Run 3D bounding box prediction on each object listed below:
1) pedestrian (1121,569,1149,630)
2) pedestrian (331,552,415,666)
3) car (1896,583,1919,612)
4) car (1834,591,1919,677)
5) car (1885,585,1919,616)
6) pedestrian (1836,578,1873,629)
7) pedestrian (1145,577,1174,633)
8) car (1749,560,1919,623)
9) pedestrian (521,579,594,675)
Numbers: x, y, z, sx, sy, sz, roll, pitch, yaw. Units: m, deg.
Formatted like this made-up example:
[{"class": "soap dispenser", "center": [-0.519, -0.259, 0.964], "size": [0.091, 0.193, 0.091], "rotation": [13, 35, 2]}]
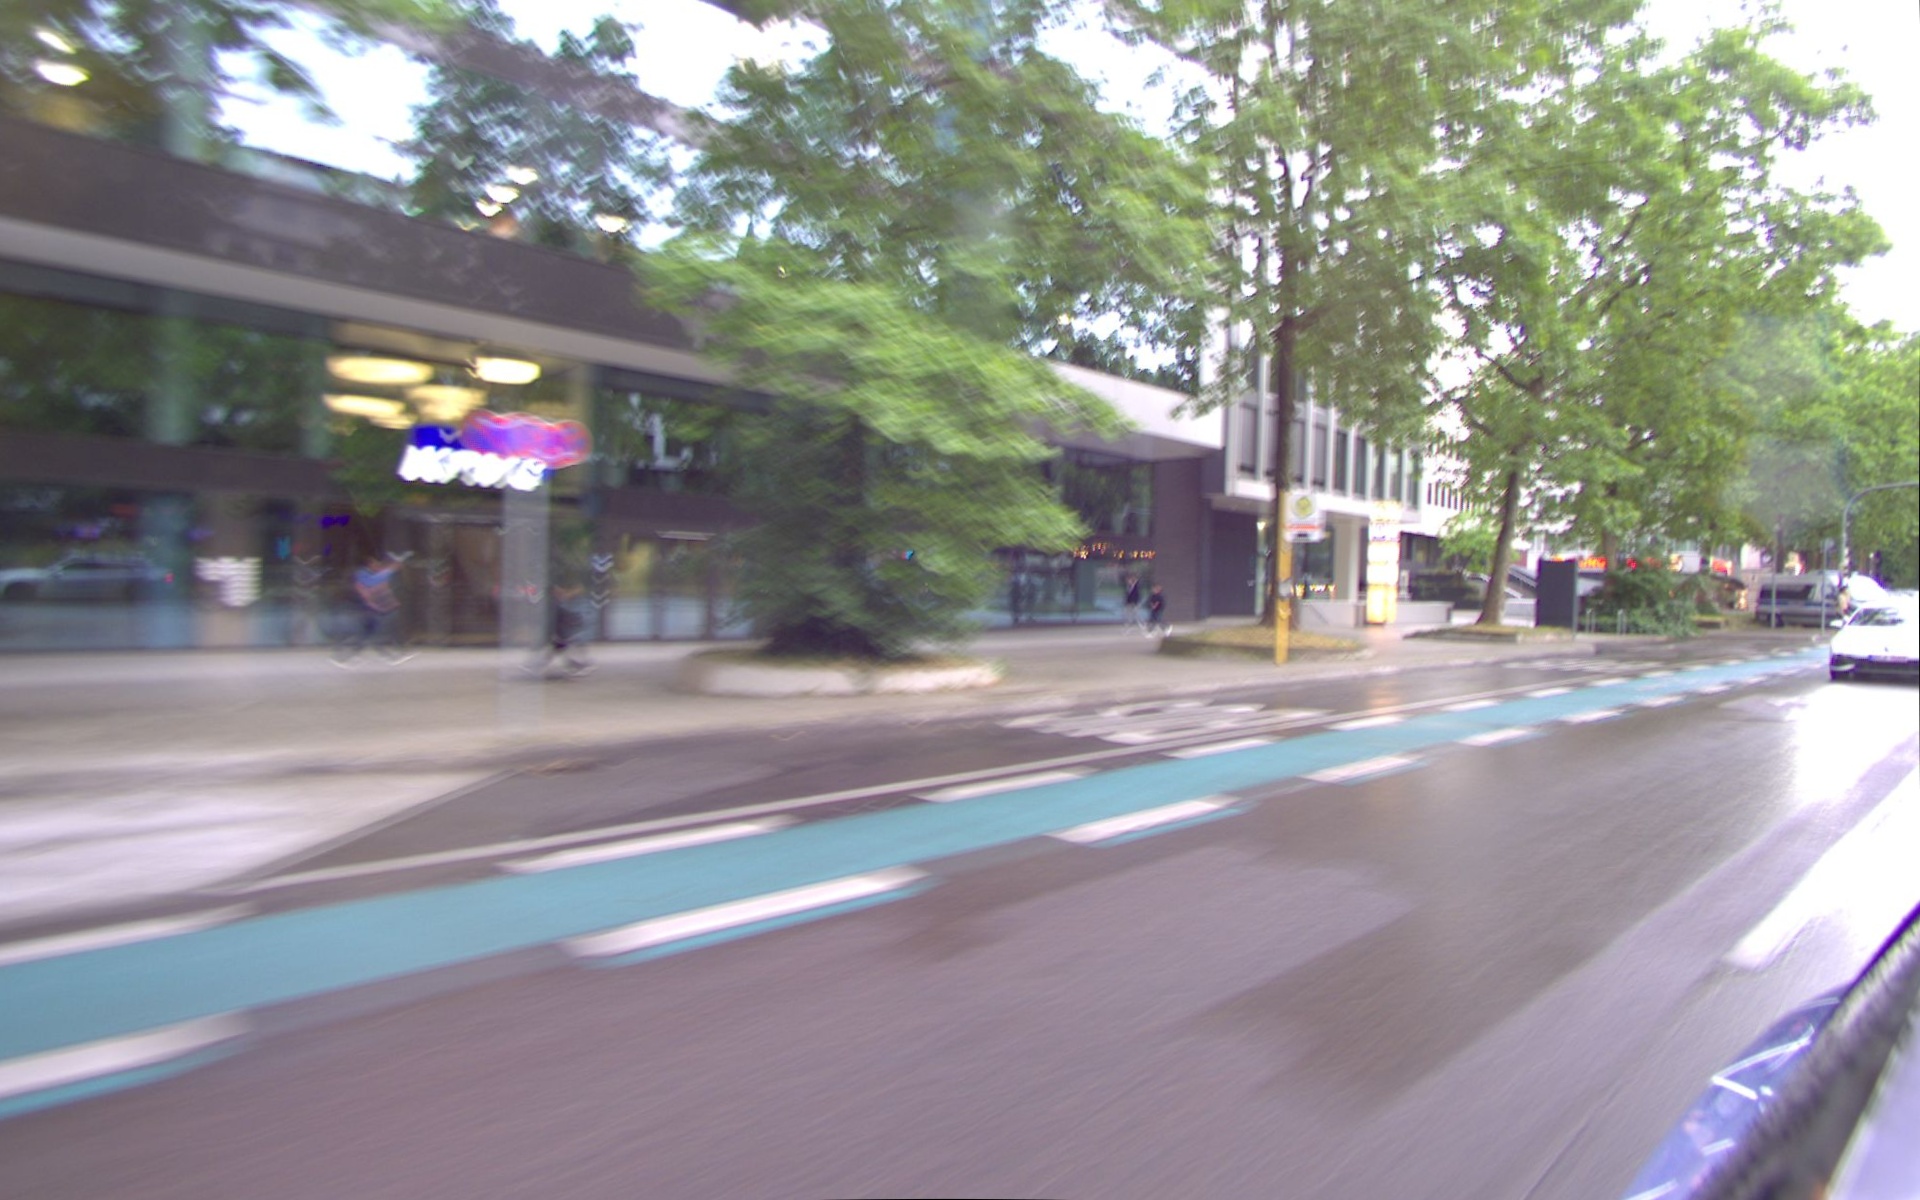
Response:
[{"class": "pedestrian", "center": [5.457, -0.028, 31.557], "size": [0.692, 1.881, 0.523], "rotation": [-2, 4, -41]}, {"class": "pedestrian", "center": [-9.858, 0.133, 16.997], "size": [1.068, 1.816, 0.789], "rotation": [1, 2, -40]}, {"class": "car", "center": [52.034, -0.151, 54.828], "size": [3.366, 1.545, 1.596], "rotation": [0, 1, -41]}, {"class": "car", "center": [17.784, 0.571, 18.804], "size": [3.727, 1.490, 1.794], "rotation": [-1, 0, -41]}, {"class": "car", "center": [48.999, -0.011, 52.177], "size": [3.366, 1.545, 1.597], "rotation": [0, 1, -41]}, {"class": "pedestrian", "center": [33.590, 0.110, 38.008], "size": [0.707, 1.872, 0.892], "rotation": [-1, 0, -34]}, {"class": "pedestrian", "center": [6.107, 0.143, 30.984], "size": [0.707, 1.645, 0.527], "rotation": [-2, 4, -41]}, {"class": "car", "center": [40.526, -0.419, 47.104], "size": [2.275, 2.713, 6.292], "rotation": [-1, 1, -5]}, {"class": "pedestrian", "center": [-6.652, 0.429, 16.739], "size": [0.987, 1.524, 0.588], "rotation": [0, 1, -41]}]
